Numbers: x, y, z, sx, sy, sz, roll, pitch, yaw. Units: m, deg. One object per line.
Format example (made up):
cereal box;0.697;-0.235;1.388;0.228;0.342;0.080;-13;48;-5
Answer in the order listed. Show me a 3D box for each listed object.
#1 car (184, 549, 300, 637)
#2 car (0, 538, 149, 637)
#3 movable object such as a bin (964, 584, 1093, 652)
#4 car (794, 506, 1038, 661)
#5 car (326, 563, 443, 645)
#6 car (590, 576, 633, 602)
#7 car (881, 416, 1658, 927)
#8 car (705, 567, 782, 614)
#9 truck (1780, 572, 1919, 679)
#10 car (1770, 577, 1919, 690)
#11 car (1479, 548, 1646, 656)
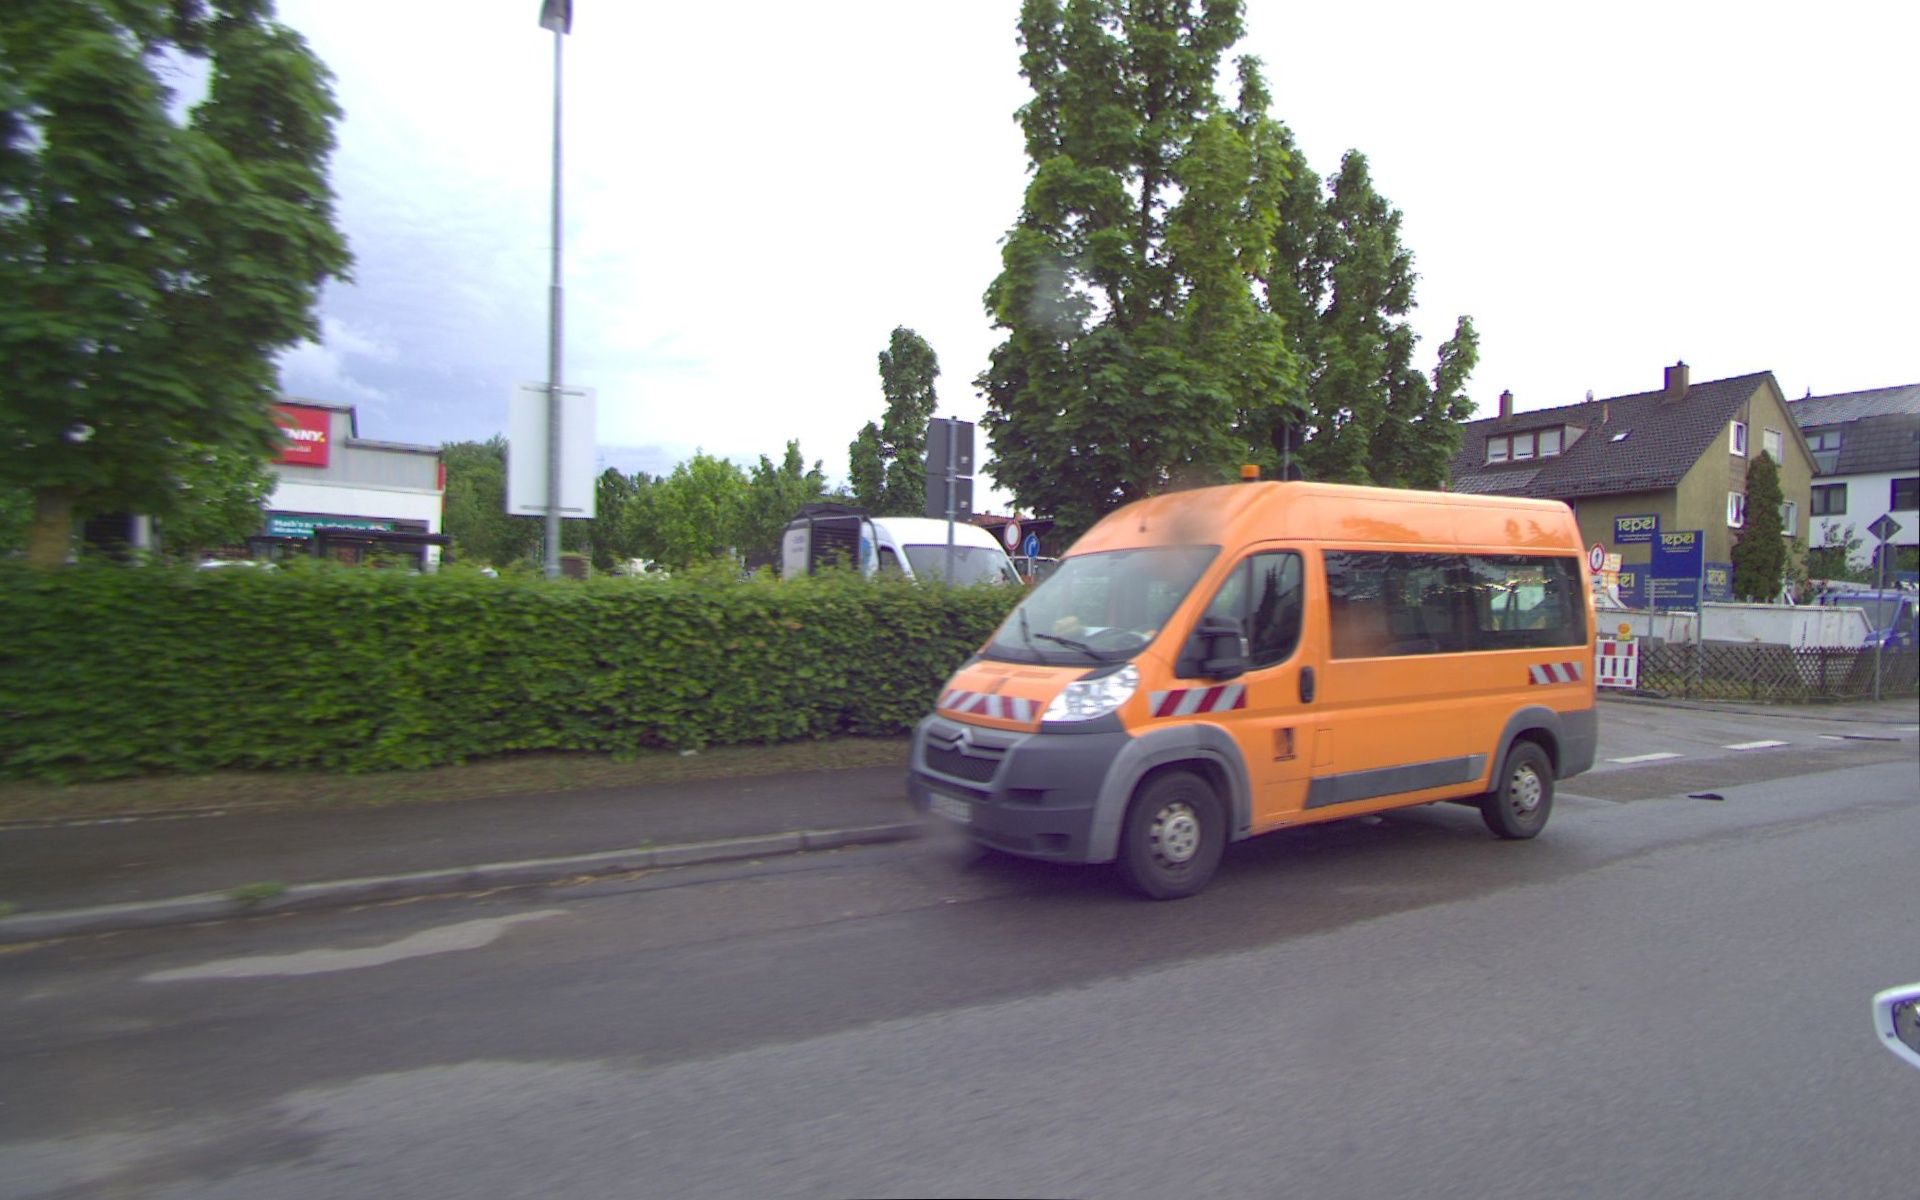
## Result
car;-14.047;-0.154;19.787;1.677;1.540;3.865;2;0;-34
car;-16.035;-0.244;18.065;1.867;1.572;4.028;2;0;-34
movable object such as a bin;1.941;0.497;29.150;1.981;1.783;3.397;2;1;-36
car;-0.851;-0.243;15.689;2.038;2.040;4.286;2;0;-29
car;-11.873;0.044;20.937;1.894;1.497;4.038;2;0;-28
car;-26.032;-0.820;75.021;1.955;1.797;4.195;2;0;-35
car;2.552;0.434;7.499;5.952;2.571;2.114;1;-1;-31
car;-11.172;-0.534;51.582;1.956;2.269;5.191;2;1;-35
truck;28.797;0.764;30.197;2.420;3.114;5.885;2;0;-29
car;23.305;0.856;25.547;6.128;2.601;2.066;2;0;-30
car;18.498;0.104;30.780;5.181;3.053;2.066;2;1;-30
